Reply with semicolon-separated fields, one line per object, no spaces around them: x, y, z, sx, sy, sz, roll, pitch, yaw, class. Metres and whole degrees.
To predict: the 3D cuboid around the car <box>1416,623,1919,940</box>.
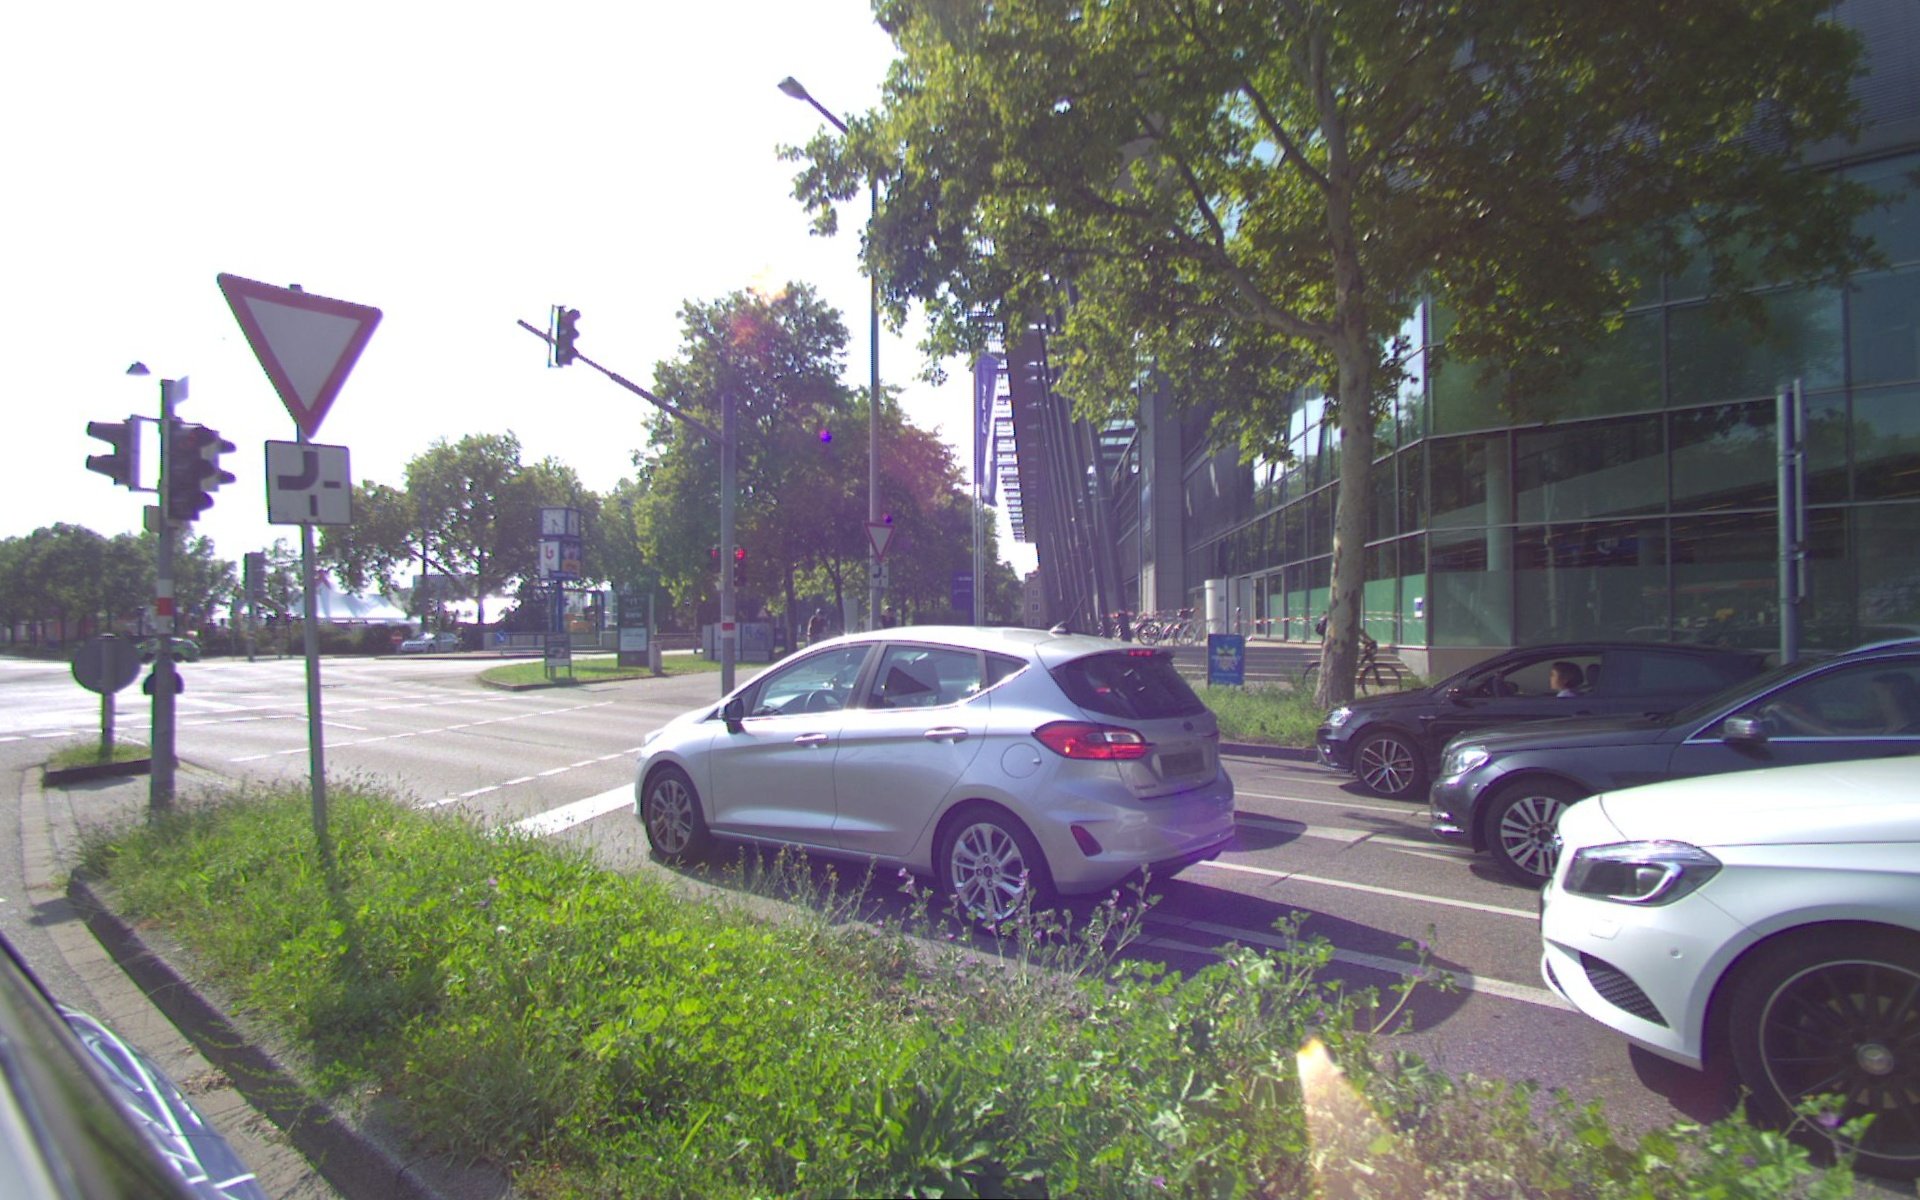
4.804;0.877;5.444;3.997;1.453;1.689;-1;-4;40;car

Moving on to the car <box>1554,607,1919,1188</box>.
3.860;0.721;2.309;4.080;1.413;1.692;-2;-4;40;car

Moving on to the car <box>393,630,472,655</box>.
-33.787;2.721;65.011;1.837;1.457;5.421;-1;-1;6;car

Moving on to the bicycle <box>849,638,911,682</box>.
-2.101;1.540;26.443;0.675;1.099;1.900;1;-2;-39;bicycle

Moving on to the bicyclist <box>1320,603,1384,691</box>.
7.011;0.824;18.093;0.885;1.529;0.647;-1;-1;41;bicyclist

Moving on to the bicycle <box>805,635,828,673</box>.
-4.330;1.623;30.608;0.634;1.103;1.652;0;-2;-7;bicycle

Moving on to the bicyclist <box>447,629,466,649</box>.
-28.971;2.261;58.209;0.902;1.149;0.517;-1;-2;19;bicyclist

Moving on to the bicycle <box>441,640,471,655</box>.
-28.979;2.731;58.208;1.723;0.872;0.527;-1;-2;20;bicycle

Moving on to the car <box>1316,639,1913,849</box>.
5.376;1.046;8.749;3.996;1.401;1.725;-2;-3;39;car

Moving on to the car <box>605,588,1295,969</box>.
-0.291;0.793;5.970;3.998;1.507;1.626;-2;-4;41;car

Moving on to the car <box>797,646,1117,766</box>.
-0.139;1.308;13.540;4.155;1.363;1.692;-2;-4;39;car

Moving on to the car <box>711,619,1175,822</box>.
-0.307;0.987;9.661;4.259;1.515;1.836;-2;-3;39;car

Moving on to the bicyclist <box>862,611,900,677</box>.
-2.066;1.141;26.421;0.658;1.701;0.811;1;-3;-39;bicyclist

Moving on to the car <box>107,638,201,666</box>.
-47.825;3.059;60.144;3.931;1.564;2.006;0;-2;-17;car

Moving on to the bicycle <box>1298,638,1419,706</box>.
7.081;1.258;18.031;1.888;1.119;0.649;-1;-1;42;bicycle

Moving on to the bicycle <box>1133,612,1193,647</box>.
6.577;0.960;32.805;1.838;1.102;0.528;0;-1;-6;bicycle

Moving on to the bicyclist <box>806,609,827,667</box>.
-4.331;1.149;30.610;0.624;1.701;0.810;0;-2;-7;bicyclist
